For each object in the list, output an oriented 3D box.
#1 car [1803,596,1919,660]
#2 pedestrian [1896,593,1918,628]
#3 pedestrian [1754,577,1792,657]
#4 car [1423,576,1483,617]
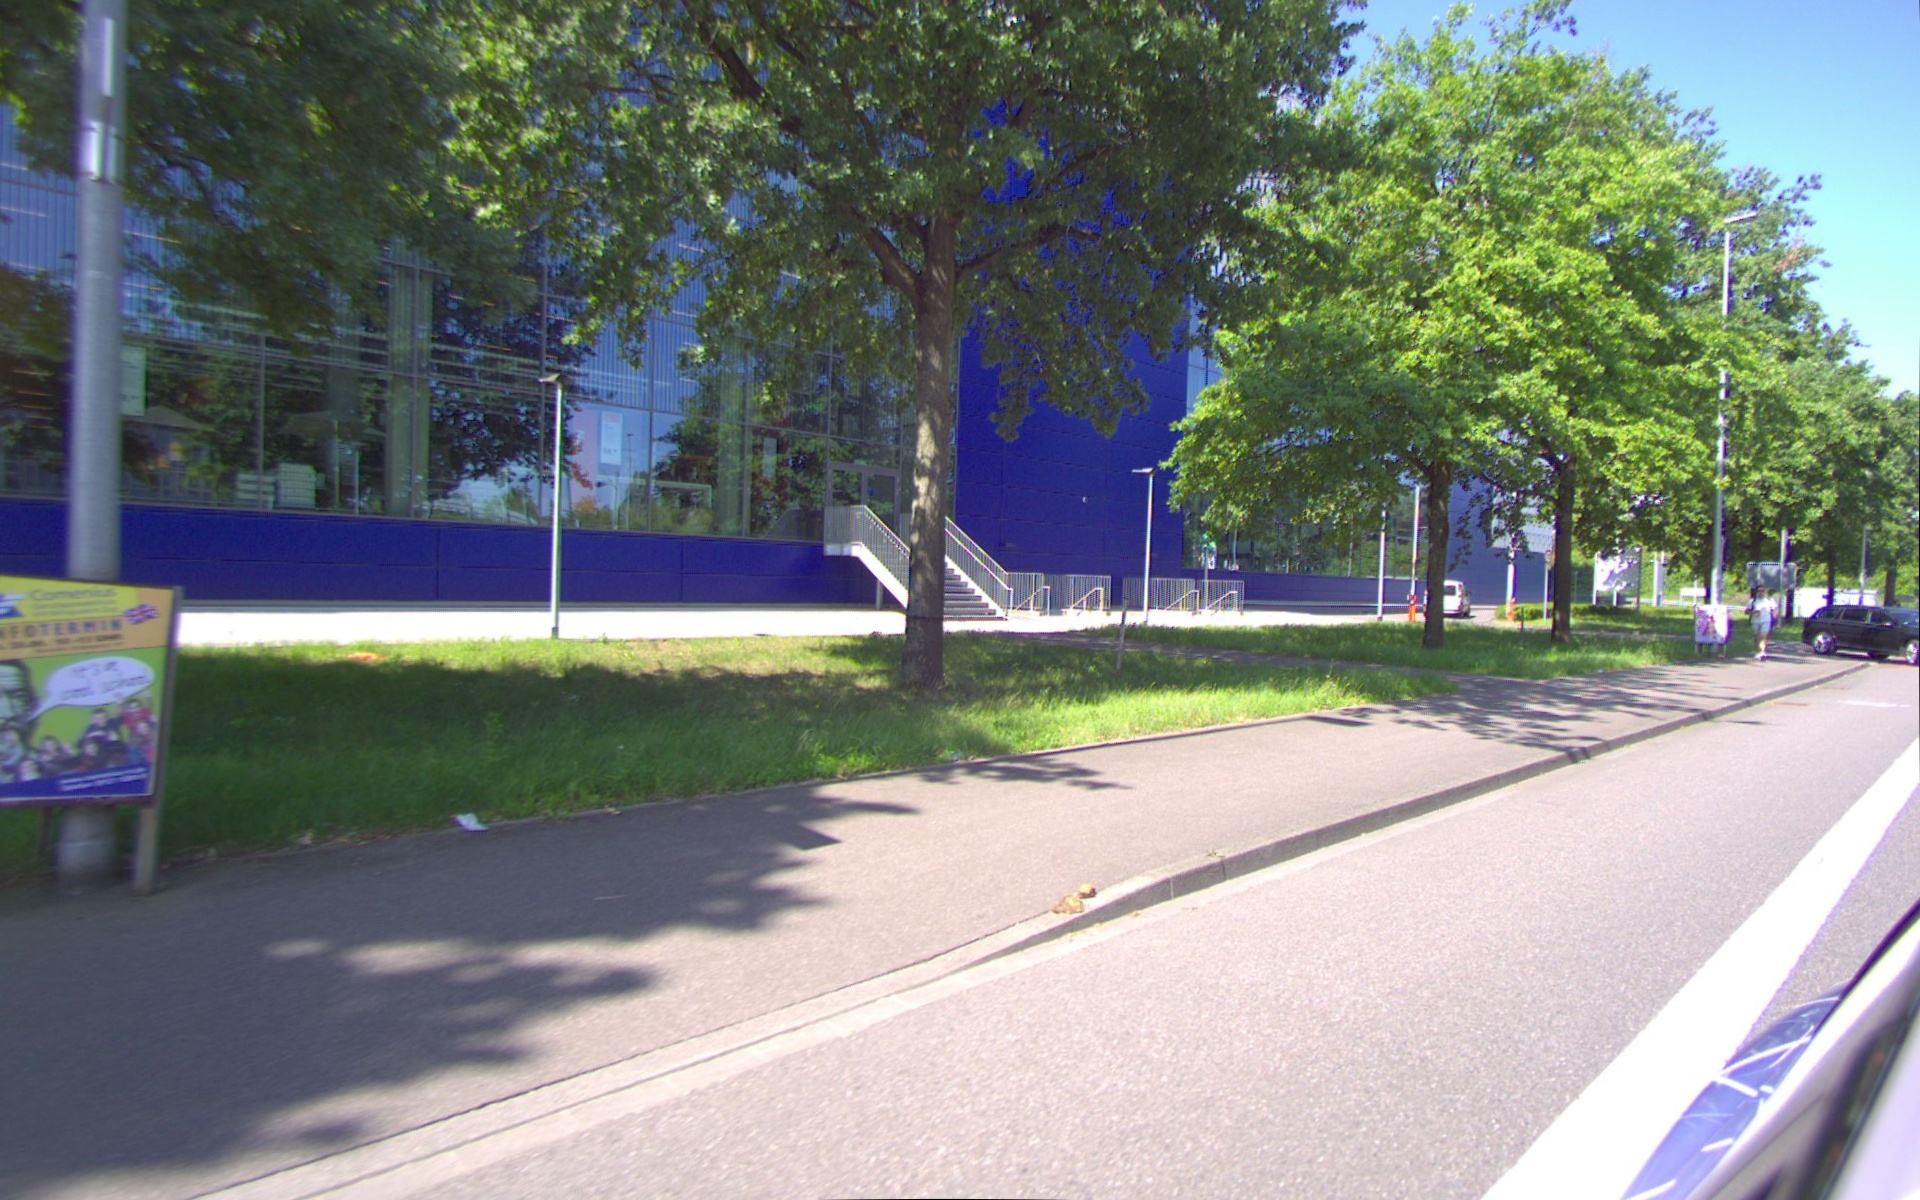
[{"bbox_3d":[25.202,0.750,26.881,1.875,1.539,4.375,2,1,-1],"label":"car"},{"bbox_3d":[45.554,0.499,48.681,0.832,1.623,0.648,1,1,-41],"label":"pedestrian"},{"bbox_3d":[19.335,0.397,24.064,0.715,1.864,0.536,1,1,-42],"label":"pedestrian"},{"bbox_3d":[24.068,-0.188,49.332,1.901,1.851,4.125,2,2,36],"label":"car"}]
